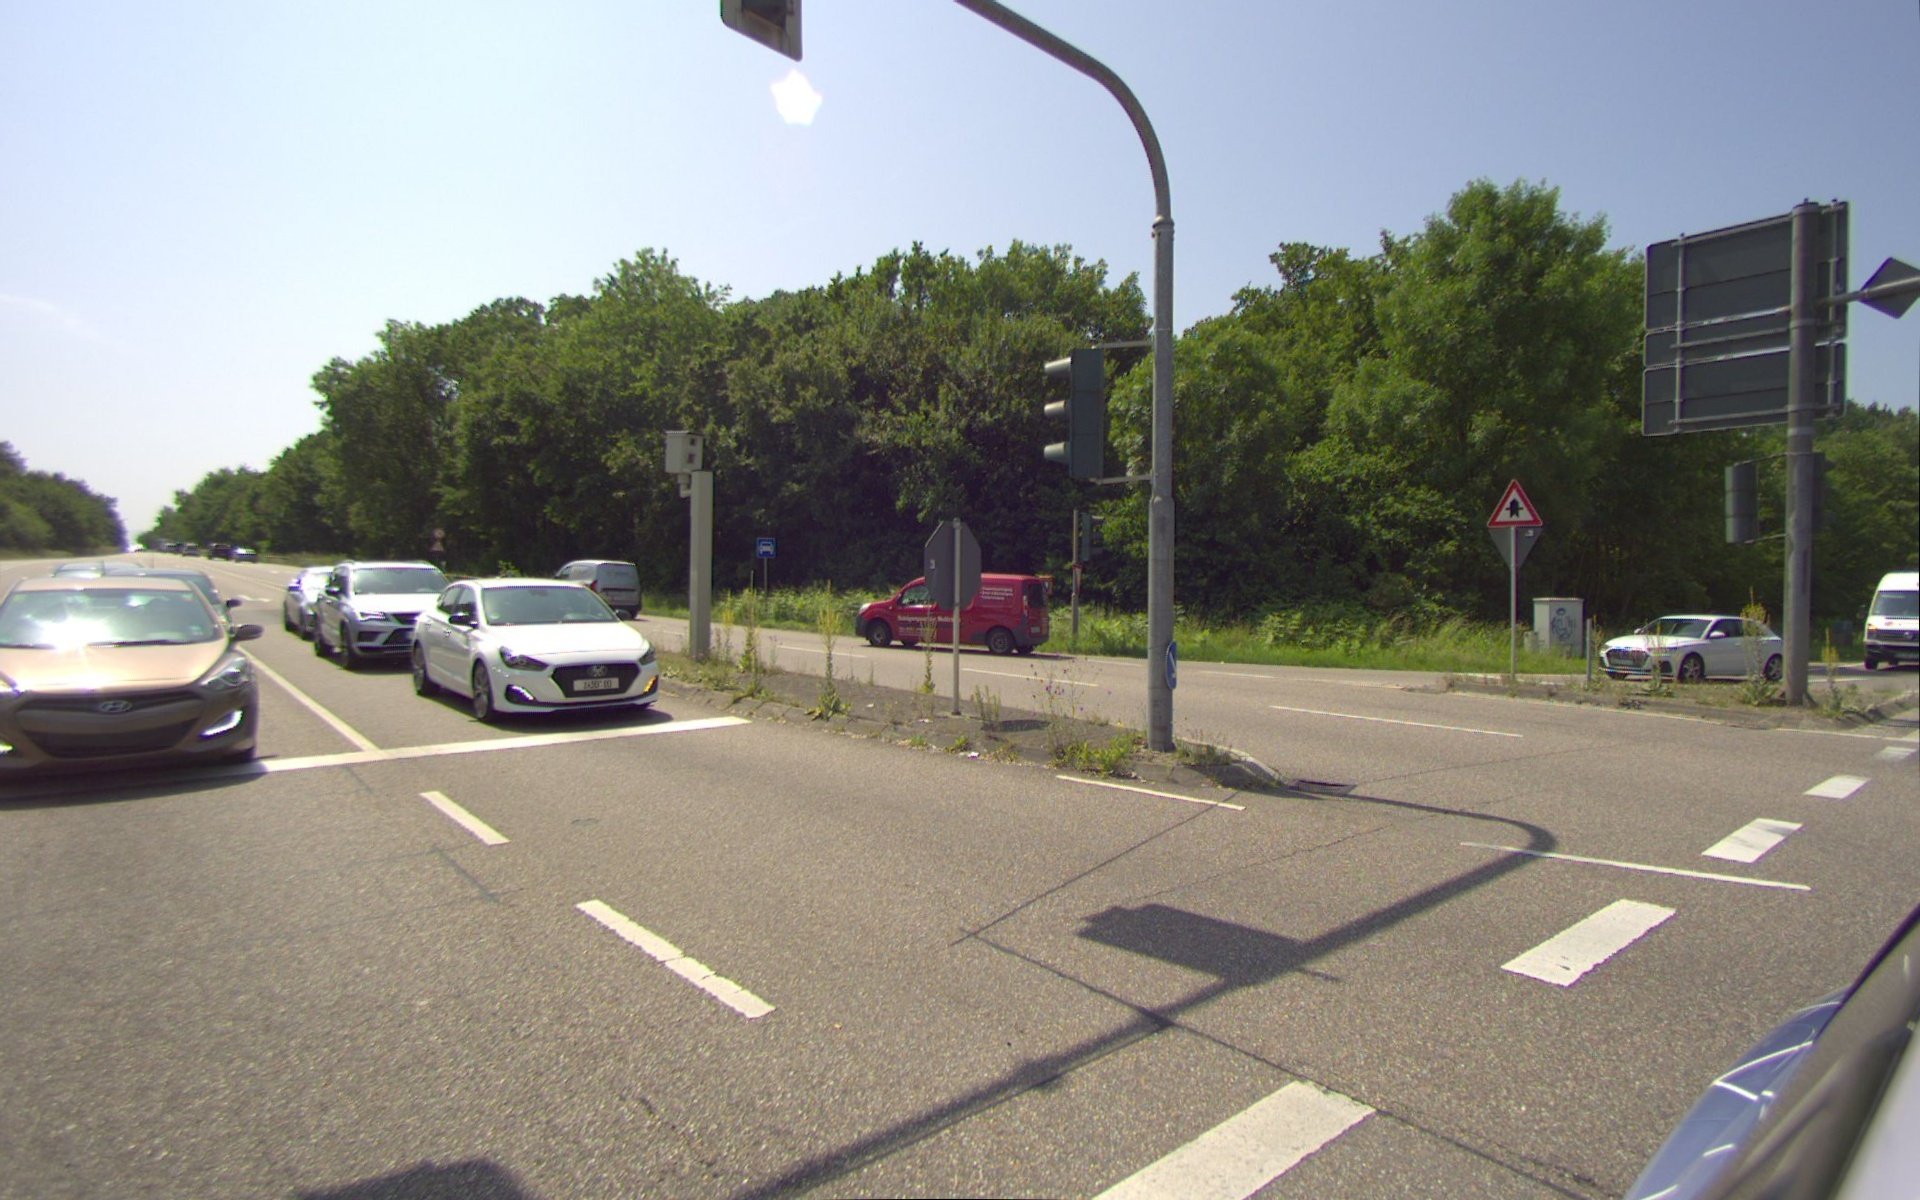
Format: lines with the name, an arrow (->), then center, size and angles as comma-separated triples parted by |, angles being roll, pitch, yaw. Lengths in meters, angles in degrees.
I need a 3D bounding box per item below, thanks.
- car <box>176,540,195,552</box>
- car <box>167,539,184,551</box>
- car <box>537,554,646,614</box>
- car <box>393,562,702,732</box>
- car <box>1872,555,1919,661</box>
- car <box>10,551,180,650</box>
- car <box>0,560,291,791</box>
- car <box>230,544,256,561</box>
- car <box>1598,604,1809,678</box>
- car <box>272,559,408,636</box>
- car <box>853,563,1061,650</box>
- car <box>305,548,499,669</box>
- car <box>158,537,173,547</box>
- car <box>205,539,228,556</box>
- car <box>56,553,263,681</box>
car -> -100.696, -7.020, 131.629 | 1.814, 1.517, 4.458 | 1, 1, -39
car -> -114.909, -8.050, 148.214 | 1.814, 1.517, 4.458 | 1, 1, -39
car -> -11.905, -0.501, 32.568 | 1.733, 1.796, 4.101 | 2, -1, -44
car -> -4.951, 0.384, 11.760 | 1.965, 1.554, 4.427 | 1, 1, -41
car -> 26.641, 0.235, 27.496 | 5.952, 2.679, 1.973 | 1, -1, -40
car -> -15.682, -0.097, 18.476 | 2.100, 1.552, 5.141 | 0, 2, -40
car -> -7.087, 0.429, 8.408 | 1.961, 1.465, 4.098 | 1, 1, -42
car -> -71.205, -4.697, 100.448 | 1.814, 1.517, 4.458 | 1, 1, -39
car -> 15.756, 0.831, 21.460 | 3.916, 1.454, 1.698 | 0, -1, -20
car -> -13.372, -0.116, 21.711 | 1.938, 1.432, 4.342 | 0, 2, -39
car -> -0.076, 0.116, 23.319 | 4.448, 1.846, 1.782 | 1, -1, 25
car -> -9.114, 0.059, 16.366 | 1.964, 1.680, 4.181 | 1, 1, -40
car -> -130.235, -9.426, 165.874 | 1.814, 1.517, 4.458 | 1, 1, -39
car -> -81.520, -5.768, 110.945 | 1.814, 1.773, 4.458 | 1, 1, -39
car -> -11.631, 0.129, 14.681 | 2.085, 1.554, 4.429 | 0, 2, -40
